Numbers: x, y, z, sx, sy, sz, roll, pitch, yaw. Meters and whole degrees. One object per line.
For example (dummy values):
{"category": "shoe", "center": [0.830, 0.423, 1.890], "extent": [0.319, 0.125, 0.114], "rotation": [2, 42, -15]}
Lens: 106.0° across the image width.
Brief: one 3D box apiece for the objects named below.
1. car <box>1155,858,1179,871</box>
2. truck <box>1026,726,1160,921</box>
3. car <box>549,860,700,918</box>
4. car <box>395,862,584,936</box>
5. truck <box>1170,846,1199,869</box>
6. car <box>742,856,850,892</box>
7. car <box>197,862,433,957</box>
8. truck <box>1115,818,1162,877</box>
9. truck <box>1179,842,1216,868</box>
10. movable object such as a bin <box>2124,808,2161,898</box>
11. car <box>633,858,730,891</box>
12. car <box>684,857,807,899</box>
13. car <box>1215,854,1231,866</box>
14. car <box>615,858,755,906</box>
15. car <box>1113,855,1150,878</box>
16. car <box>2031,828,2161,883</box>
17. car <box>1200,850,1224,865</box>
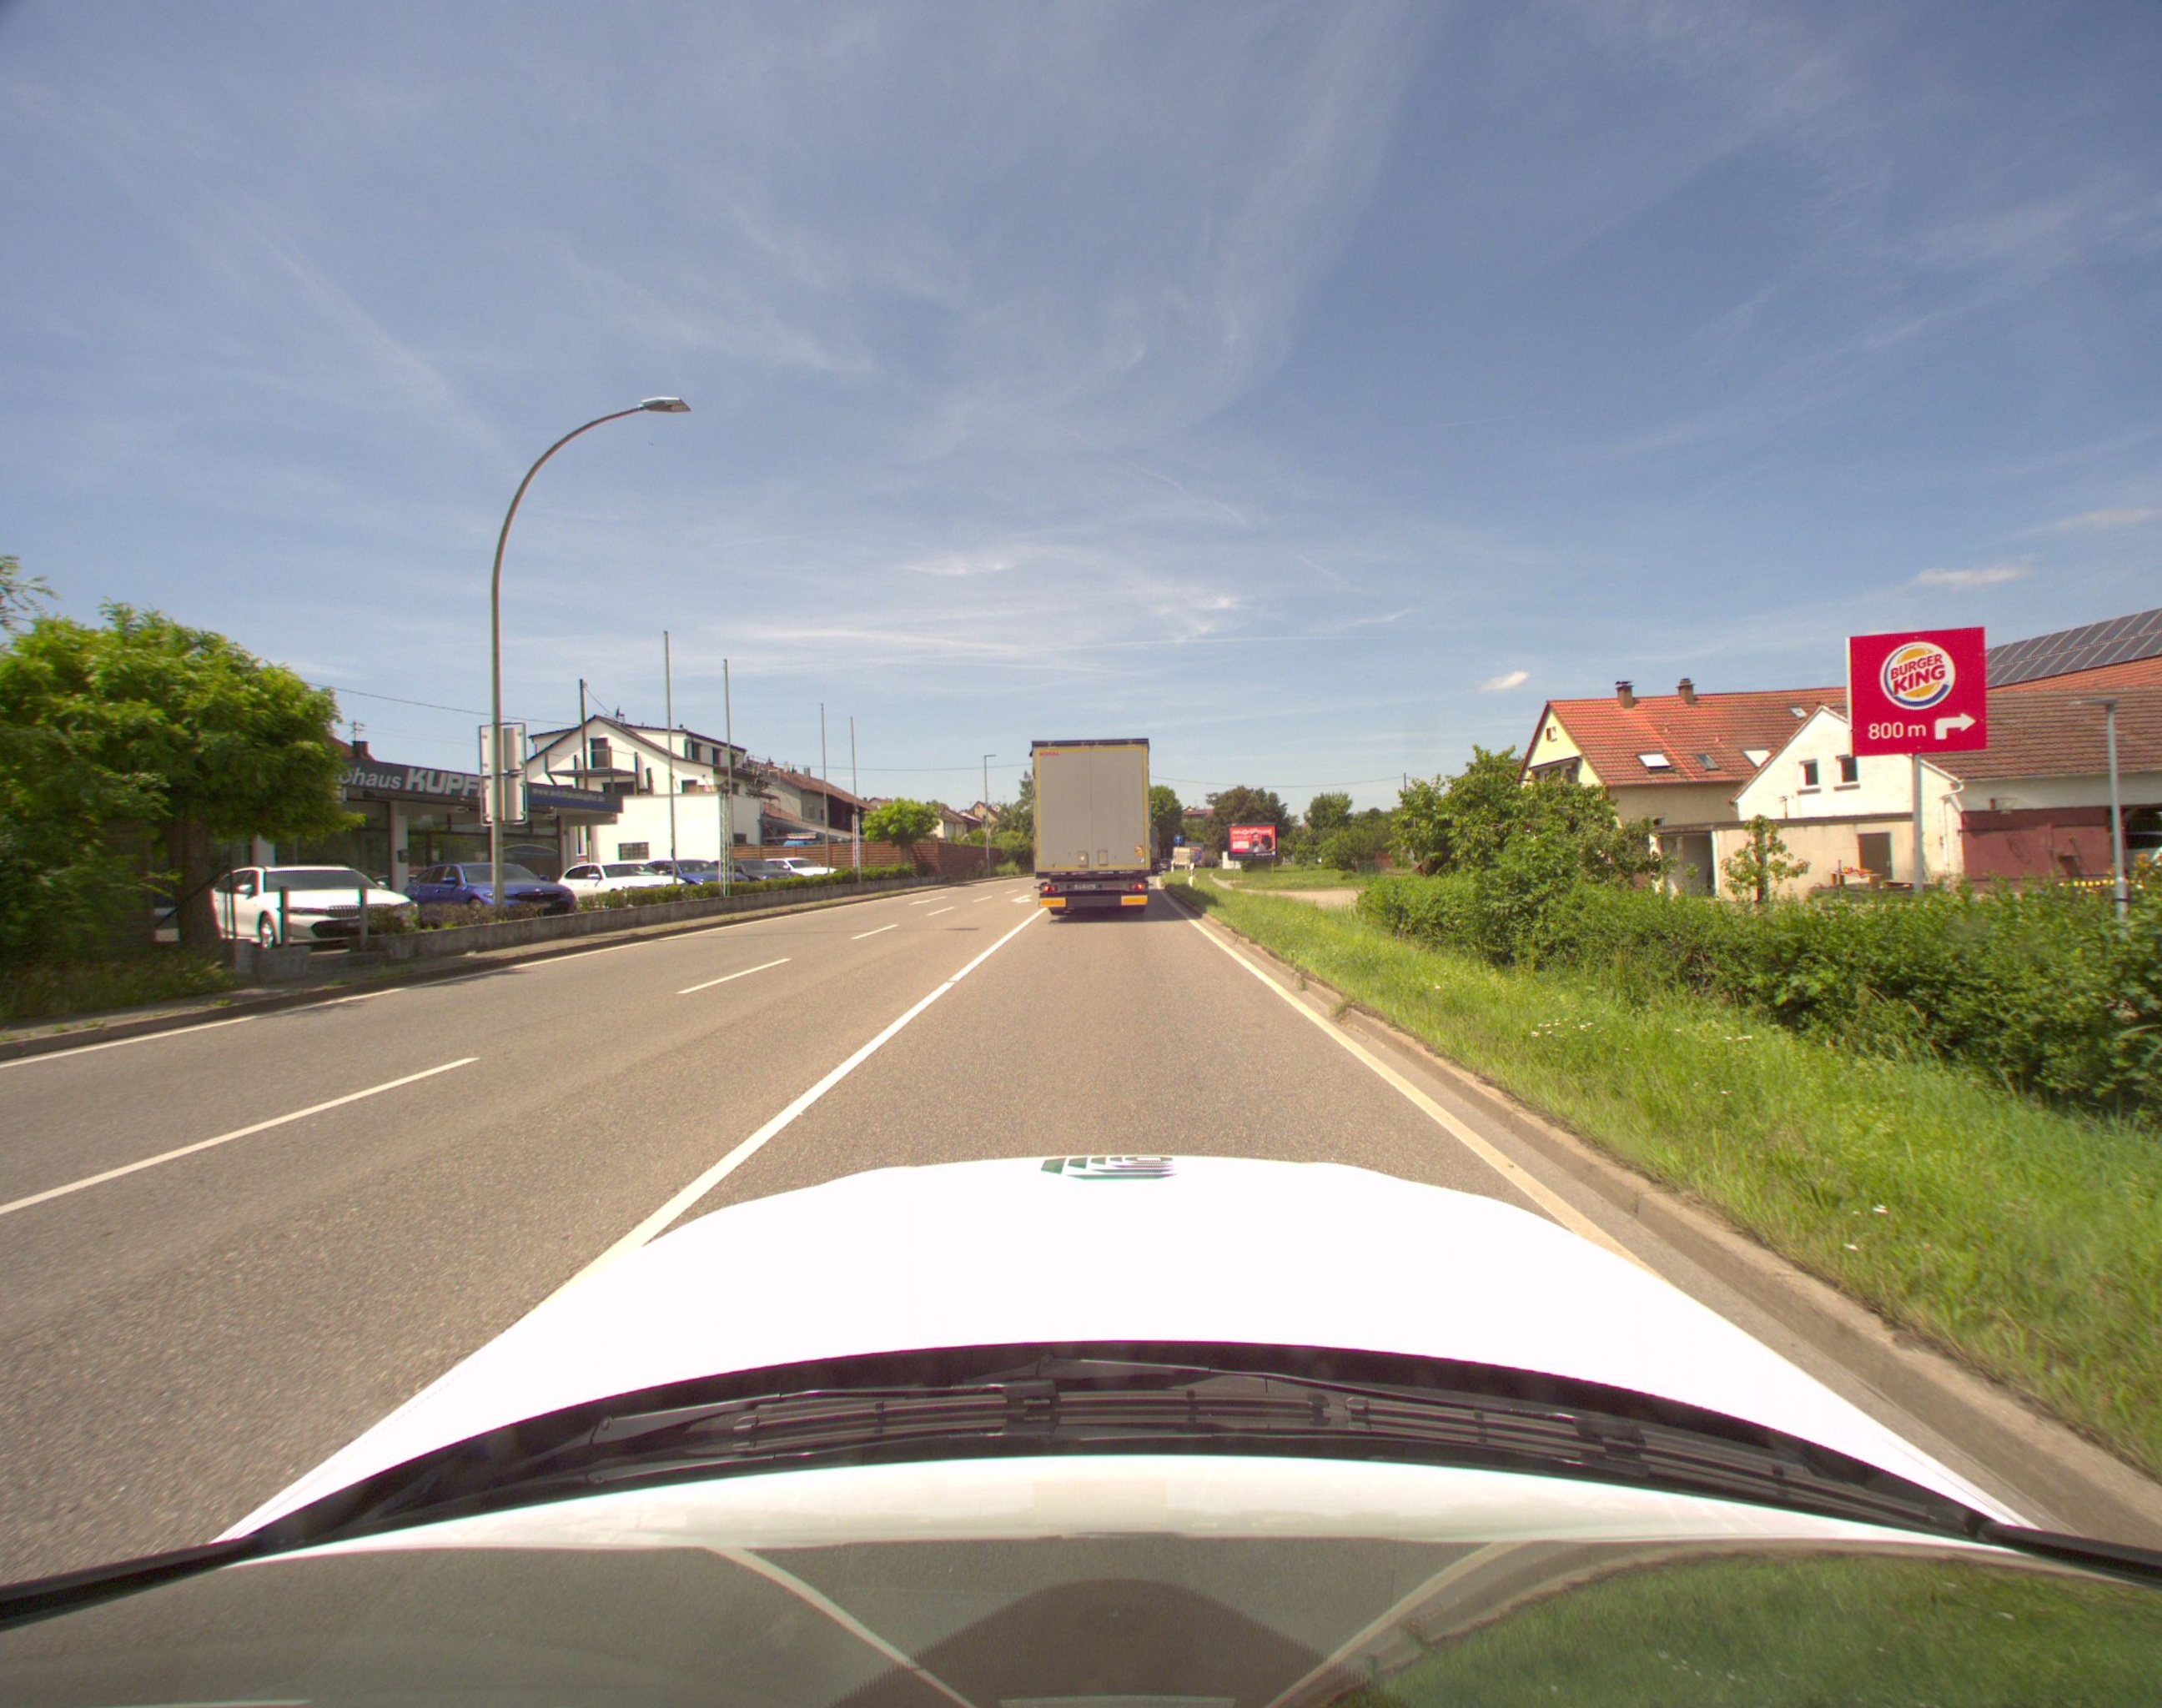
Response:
{"category": "car", "center": [9.580, 1.173, 90.529], "extent": [1.979, 1.376, 4.016], "rotation": [-1, -1, 15]}
{"category": "truck", "center": [0.486, -0.613, 22.969], "extent": [2.811, 4.128, 11.449], "rotation": [0, 0, 2]}
{"category": "car", "center": [-12.699, 0.900, 22.584], "extent": [4.457, 1.447, 1.869], "rotation": [-1, 0, 35]}
{"category": "car", "center": [-13.149, 0.933, 18.055], "extent": [4.286, 1.447, 1.869], "rotation": [-1, -1, 31]}
{"category": "truck", "center": [13.166, 0.479, 103.502], "extent": [2.523, 2.803, 6.059], "rotation": [-1, -1, 18]}
{"category": "car", "center": [-12.048, 0.847, 34.388], "extent": [4.287, 1.447, 1.868], "rotation": [-1, -1, 28]}
{"category": "car", "center": [-13.511, 0.881, 14.302], "extent": [4.521, 1.447, 1.869], "rotation": [-1, -1, 31]}
{"category": "truck", "center": [4.970, -0.347, 67.205], "extent": [2.745, 4.289, 16.450], "rotation": [0, -1, 8]}
{"category": "truck", "center": [16.606, 0.122, 115.614], "extent": [3.405, 3.604, 9.398], "rotation": [-1, 0, 19]}
{"category": "movable object such as a bin", "center": [30.048, -0.098, 20.881], "extent": [3.690, 2.343, 2.083], "rotation": [-3, 0, 6]}
{"category": "car", "center": [-19.375, 0.977, 39.522], "extent": [3.957, 1.510, 1.843], "rotation": [-1, 0, 16]}
{"category": "car", "center": [-12.508, 0.879, 30.343], "extent": [4.287, 1.447, 1.910], "rotation": [-1, -1, 28]}
{"category": "car", "center": [23.710, 1.031, 135.857], "extent": [1.977, 2.014, 4.019], "rotation": [-1, -1, 19]}
{"category": "car", "center": [-12.933, 0.899, 26.590], "extent": [4.288, 1.447, 1.868], "rotation": [-1, -1, 26]}
{"category": "car", "center": [3.225, 0.785, 51.423], "extent": [1.807, 1.346, 3.859], "rotation": [-1, -1, 11]}
{"category": "car", "center": [32.257, 0.048, 24.956], "extent": [1.746, 1.618, 4.004], "rotation": [-1, -1, 4]}
{"category": "car", "center": [20.116, 0.538, 125.157], "extent": [2.511, 2.277, 6.412], "rotation": [-1, 0, 19]}
